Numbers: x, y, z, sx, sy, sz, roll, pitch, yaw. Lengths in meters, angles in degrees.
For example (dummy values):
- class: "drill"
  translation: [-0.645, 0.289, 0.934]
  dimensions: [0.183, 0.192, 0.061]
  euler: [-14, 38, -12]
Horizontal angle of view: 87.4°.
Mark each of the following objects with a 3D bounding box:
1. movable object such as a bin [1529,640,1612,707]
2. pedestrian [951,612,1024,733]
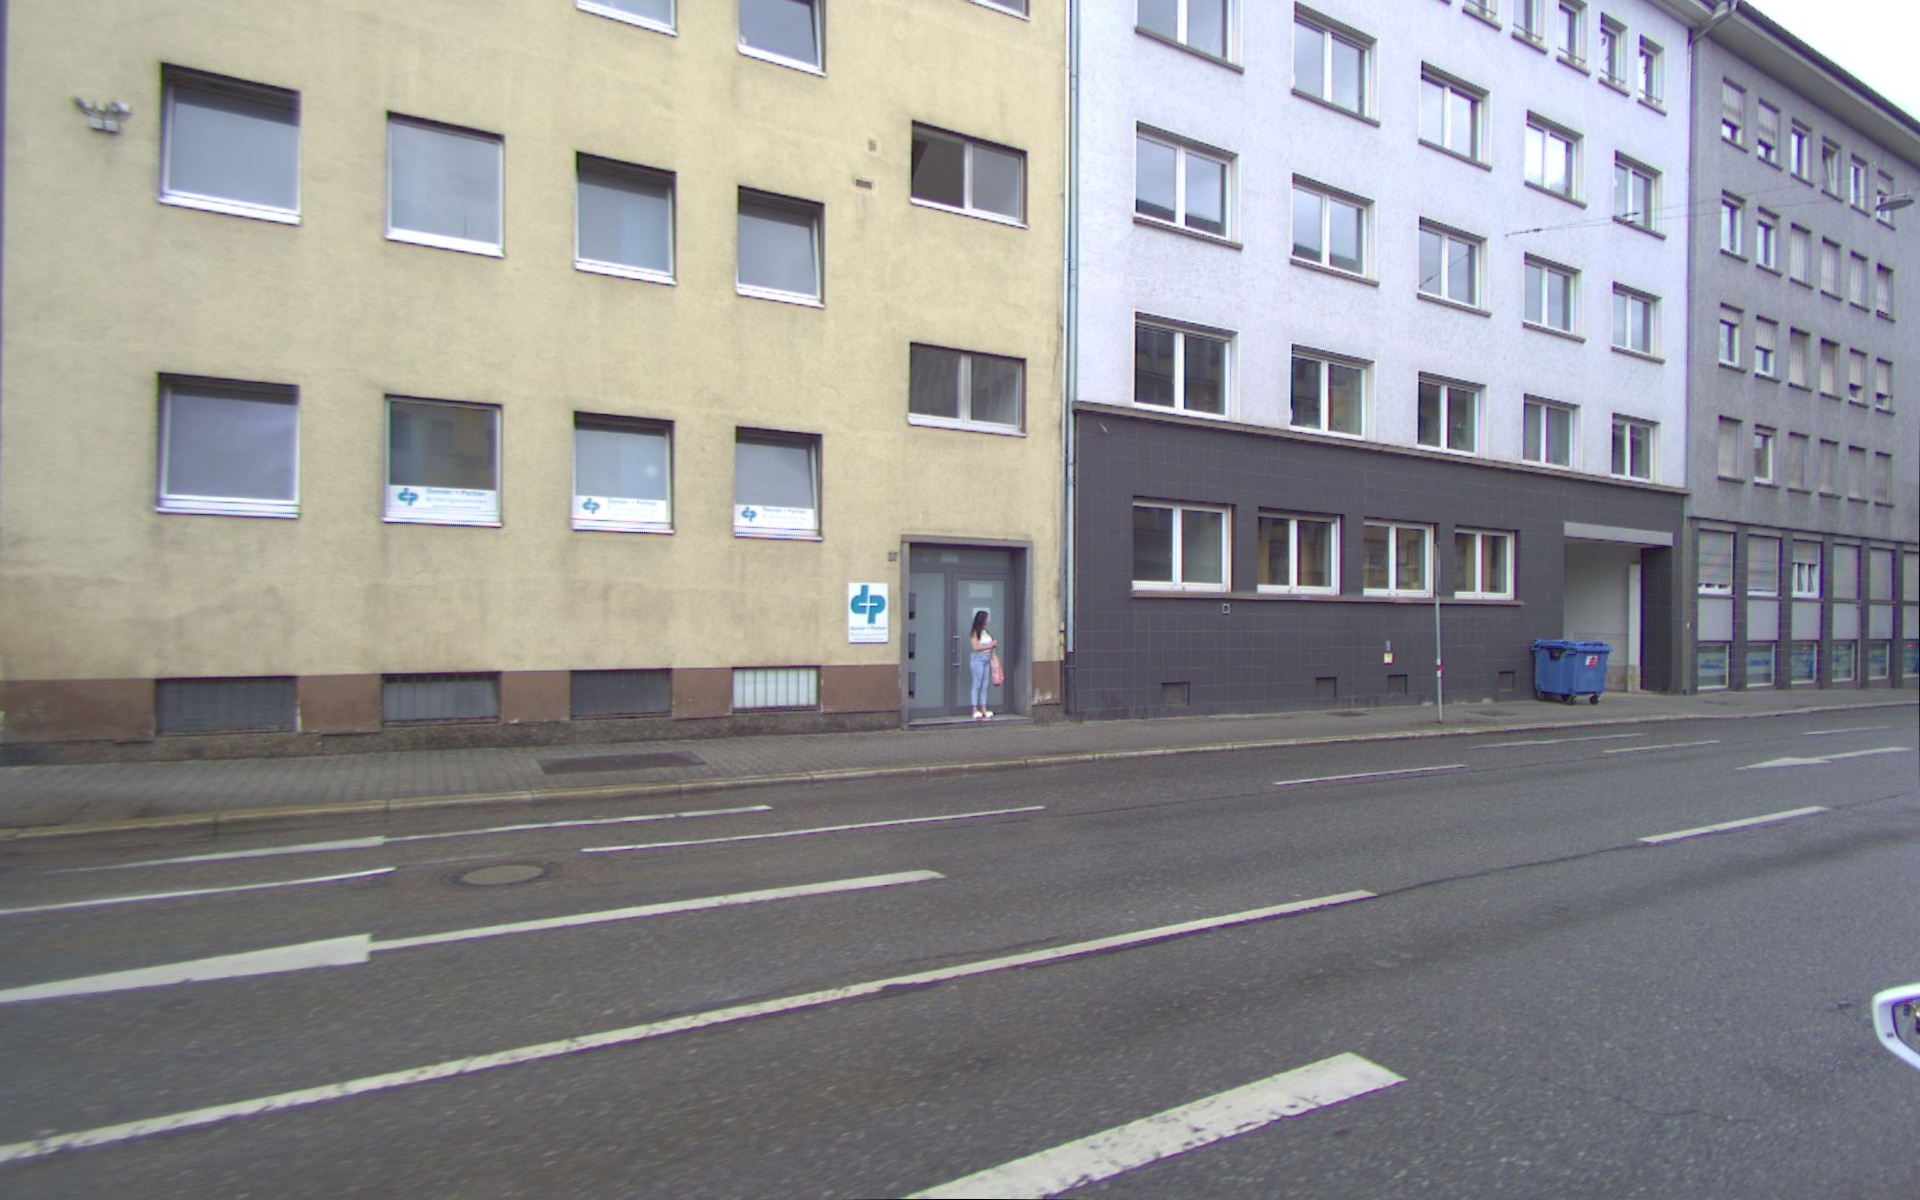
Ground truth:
- class: "movable object such as a bin"
  translation: [13.033, 1.542, 21.463]
  dimensions: [1.176, 1.342, 1.071]
  euler: [1, 0, -30]
- class: "pedestrian"
  translation: [0.397, 1.042, 14.771]
  dimensions: [0.801, 1.712, 0.714]
  euler: [1, 0, -28]
